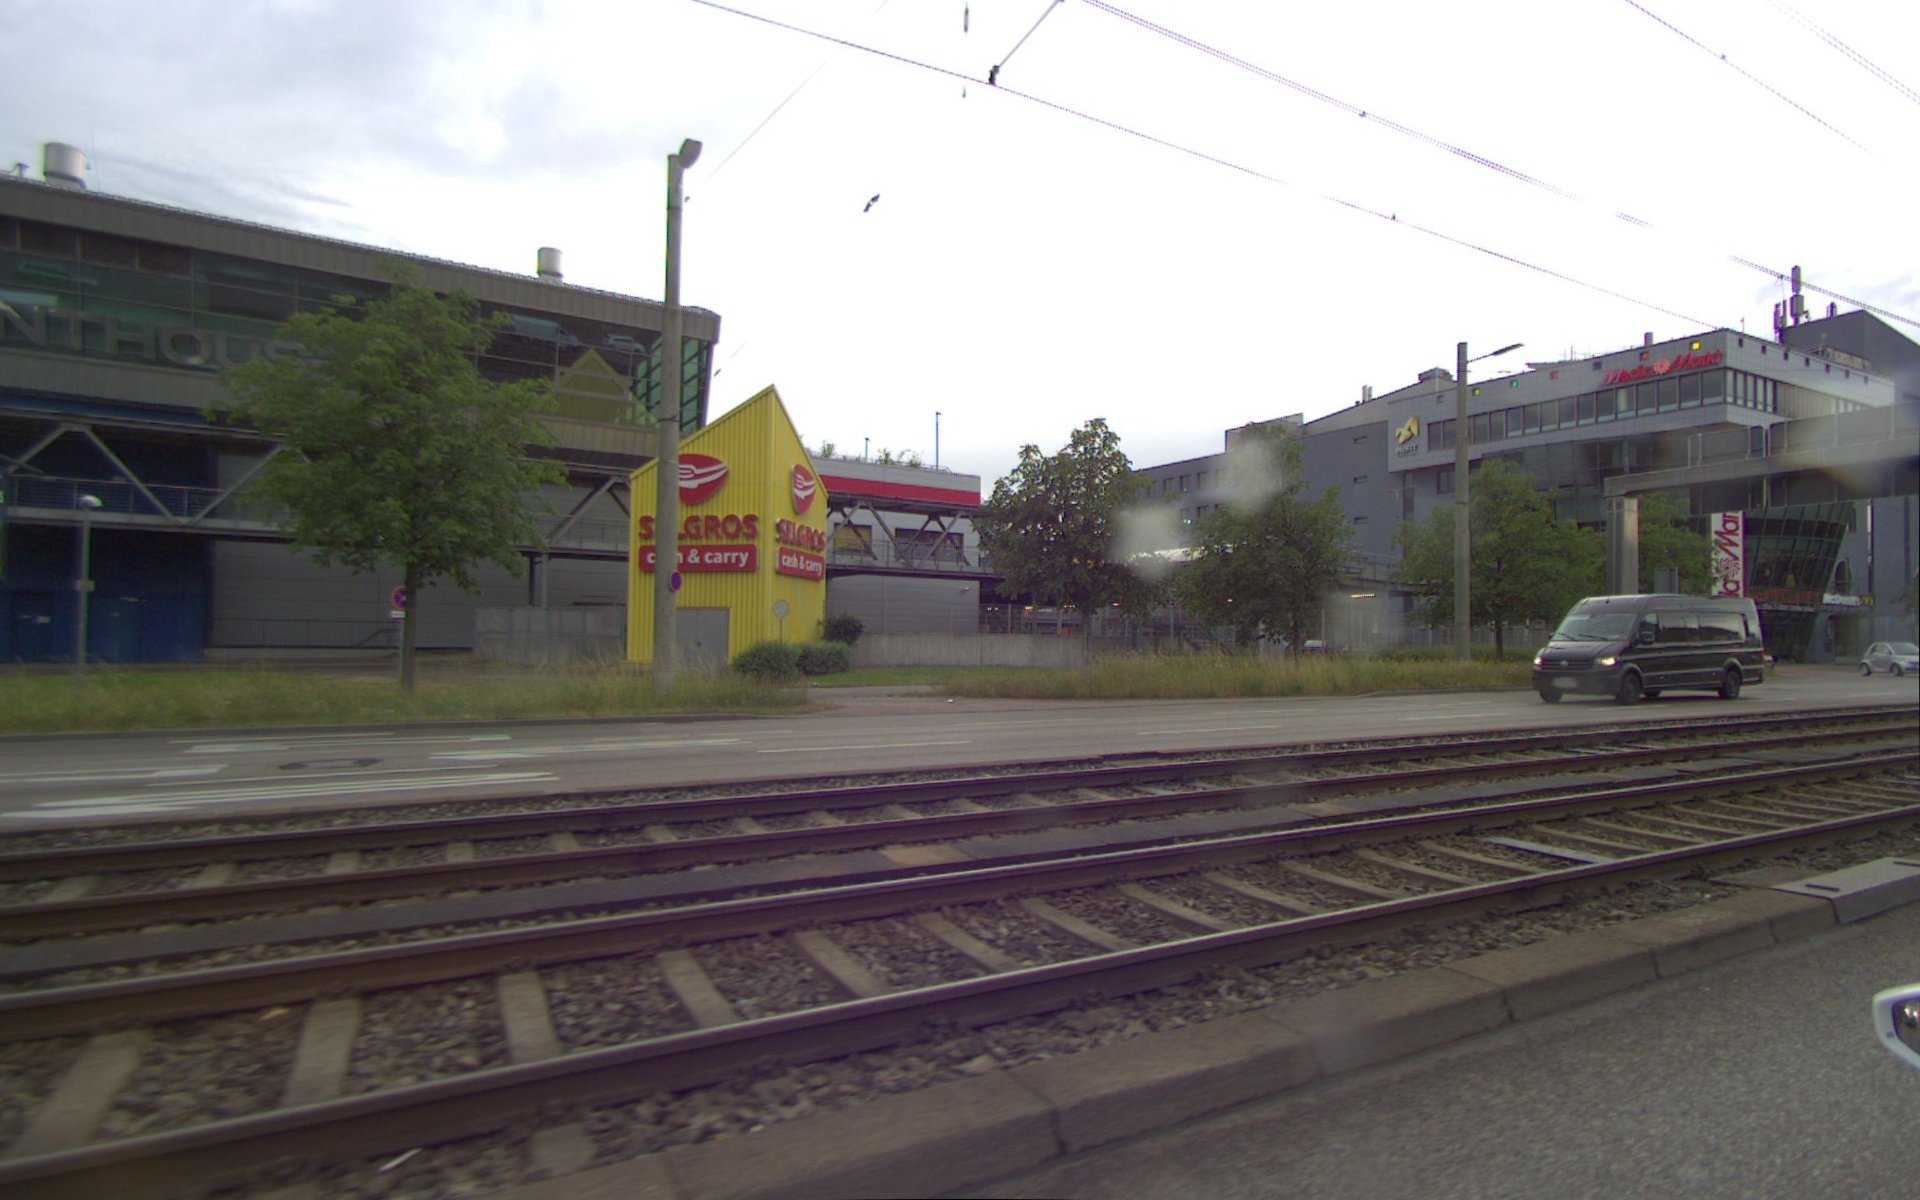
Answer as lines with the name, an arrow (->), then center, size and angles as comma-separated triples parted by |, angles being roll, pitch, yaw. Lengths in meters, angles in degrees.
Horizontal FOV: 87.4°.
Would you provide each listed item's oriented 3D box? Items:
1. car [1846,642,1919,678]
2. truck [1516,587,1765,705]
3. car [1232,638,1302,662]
car -> 42.559, 2.711, 45.813 | 1.572, 1.557, 2.952 | -2, -2, 0
truck -> 16.867, 1.165, 24.774 | 6.931, 2.598, 2.229 | 2, -4, -30
car -> 19.316, 3.134, 63.329 | 4.025, 1.299, 1.664 | 2, 0, 9
